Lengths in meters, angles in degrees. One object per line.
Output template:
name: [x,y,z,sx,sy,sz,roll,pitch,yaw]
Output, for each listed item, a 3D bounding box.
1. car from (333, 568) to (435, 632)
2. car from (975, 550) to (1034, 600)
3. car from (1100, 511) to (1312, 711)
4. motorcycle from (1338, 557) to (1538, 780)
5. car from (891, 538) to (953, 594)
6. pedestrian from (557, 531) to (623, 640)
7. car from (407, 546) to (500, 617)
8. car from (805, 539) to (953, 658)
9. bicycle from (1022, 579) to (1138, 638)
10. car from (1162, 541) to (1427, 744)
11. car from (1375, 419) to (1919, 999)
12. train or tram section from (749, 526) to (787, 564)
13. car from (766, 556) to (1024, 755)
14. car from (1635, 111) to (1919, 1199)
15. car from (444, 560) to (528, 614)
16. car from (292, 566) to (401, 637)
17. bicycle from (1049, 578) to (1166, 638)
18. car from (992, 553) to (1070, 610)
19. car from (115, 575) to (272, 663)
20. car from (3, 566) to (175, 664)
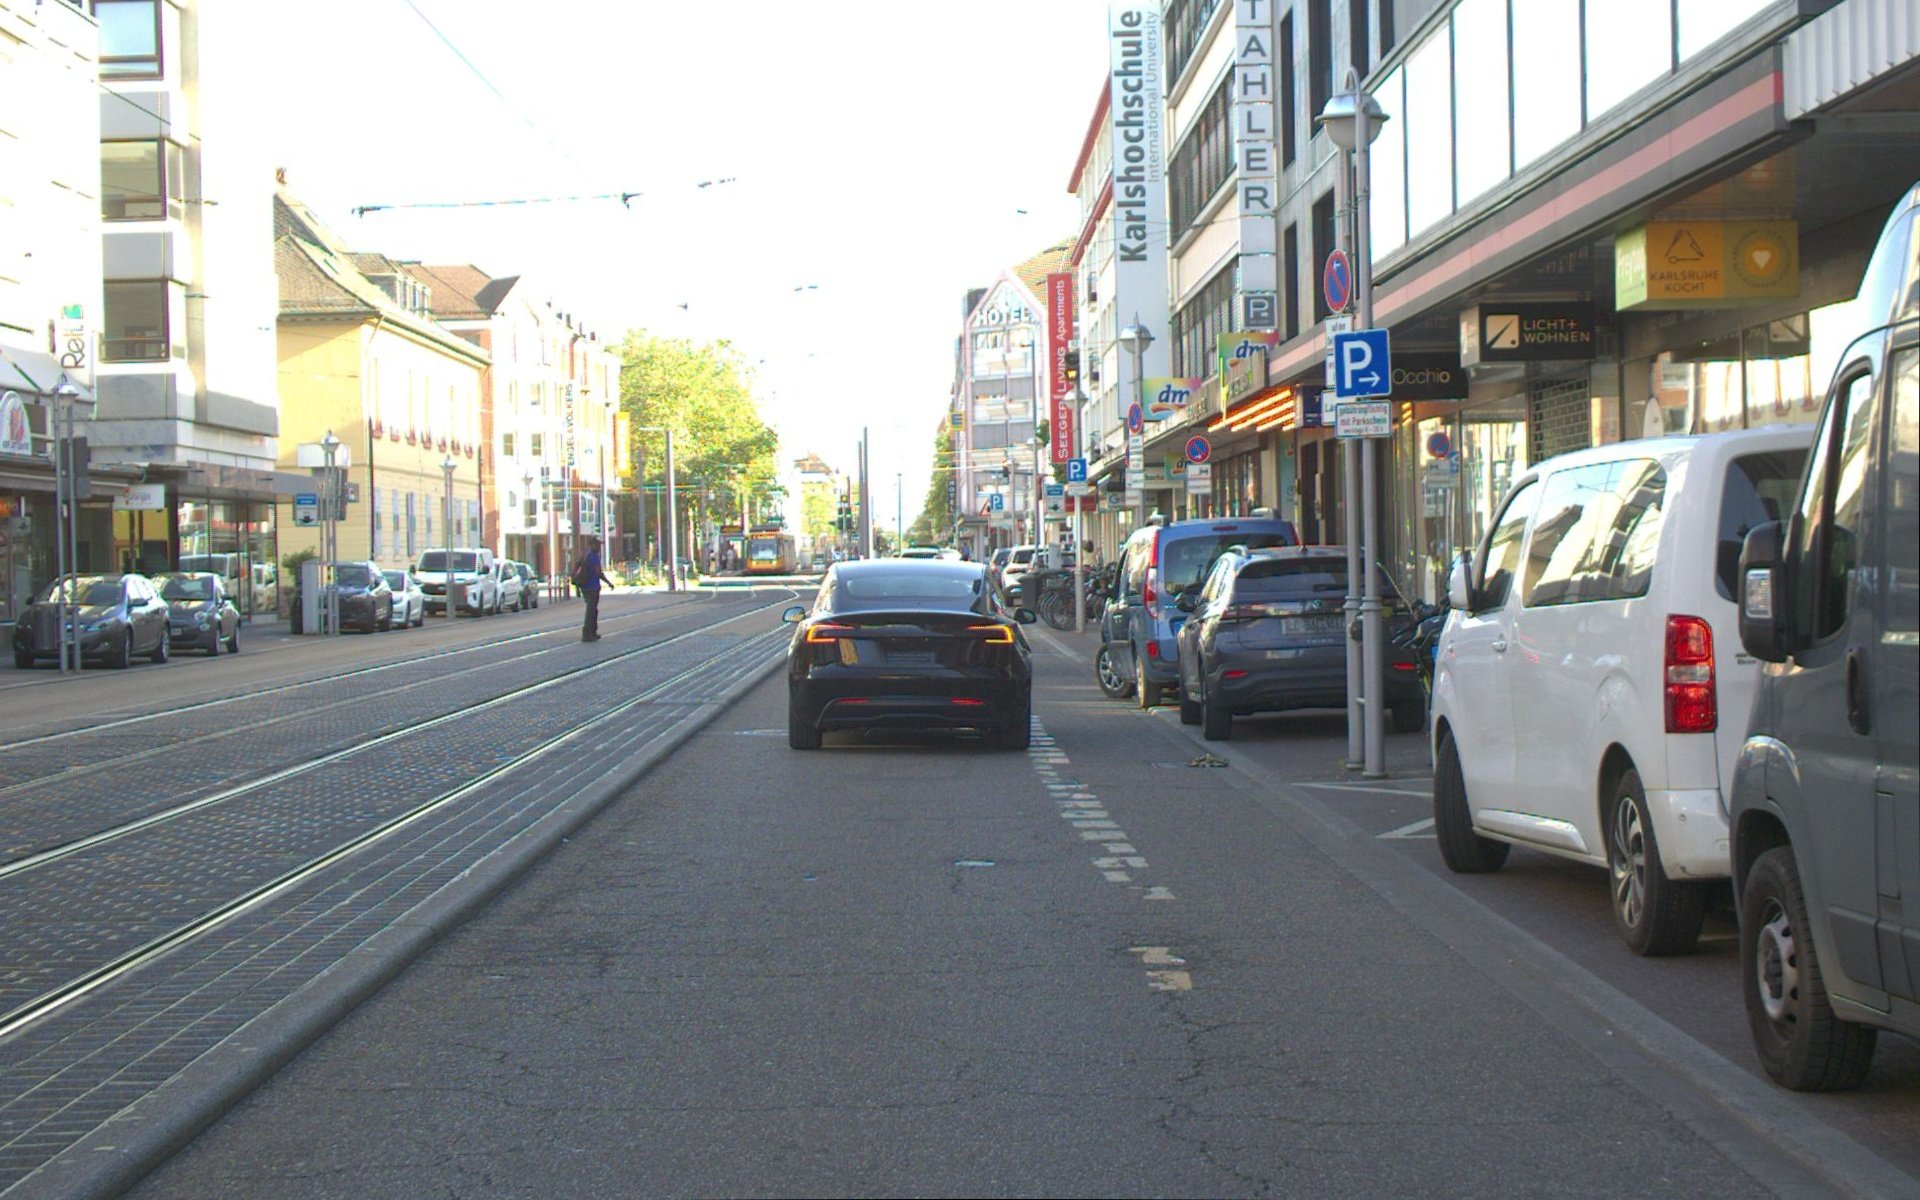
car: [-14.257,-0.013,85.264,1.770,1.503,3.972,-1,1,1]
car: [1.582,-0.879,123.455,1.993,1.747,4.000,0,0,-1]
car: [2.381,0.070,34.063,1.821,1.864,3.754,0,1,0]
motorcycle: [3.089,0.422,22.487,0.813,1.311,2.633,-5,0,-1]
car: [-1.291,-1.184,117.720,2.085,1.864,3.754,0,1,0]
pedestrian: [-6.353,-0.249,59.046,0.772,1.842,0.827,-1,1,28]
car: [-14.497,-0.533,98.640,2.009,1.954,4.725,-1,1,-1]
car: [-1.039,-0.017,43.574,1.761,1.414,4.355,-1,0,-2]
bicycle: [2.304,0.165,66.141,2.159,1.093,0.686,-1,1,-3]
car: [2.646,0.290,27.927,1.751,1.494,3.754,-1,1,0]
car: [3.249,0.302,14.110,2.158,1.920,4.618,-4,1,-3]
train or tram section: [-13.378,-3.856,239.913,1.994,2.625,6.800,0,1,3]
car: [-0.480,0.378,27.243,1.869,1.422,4.364,0,1,0]
car: [3.206,0.120,7.571,2.171,2.453,5.362,-2,1,-1]
car: [-14.529,-0.413,105.593,1.988,1.608,4.274,-1,1,0]
car: [-14.122,0.010,79.315,1.718,1.566,3.849,-1,1,1]
bicycle: [2.794,0.153,65.258,2.159,1.093,0.686,-1,1,-3]
car: [1.938,-0.500,94.958,1.993,1.537,4.000,0,0,-1]
car: [-13.799,0.316,62.084,1.770,1.503,3.860,-1,1,3]
car: [-14.128,0.211,55.947,1.769,1.503,3.864,-1,1,1]
